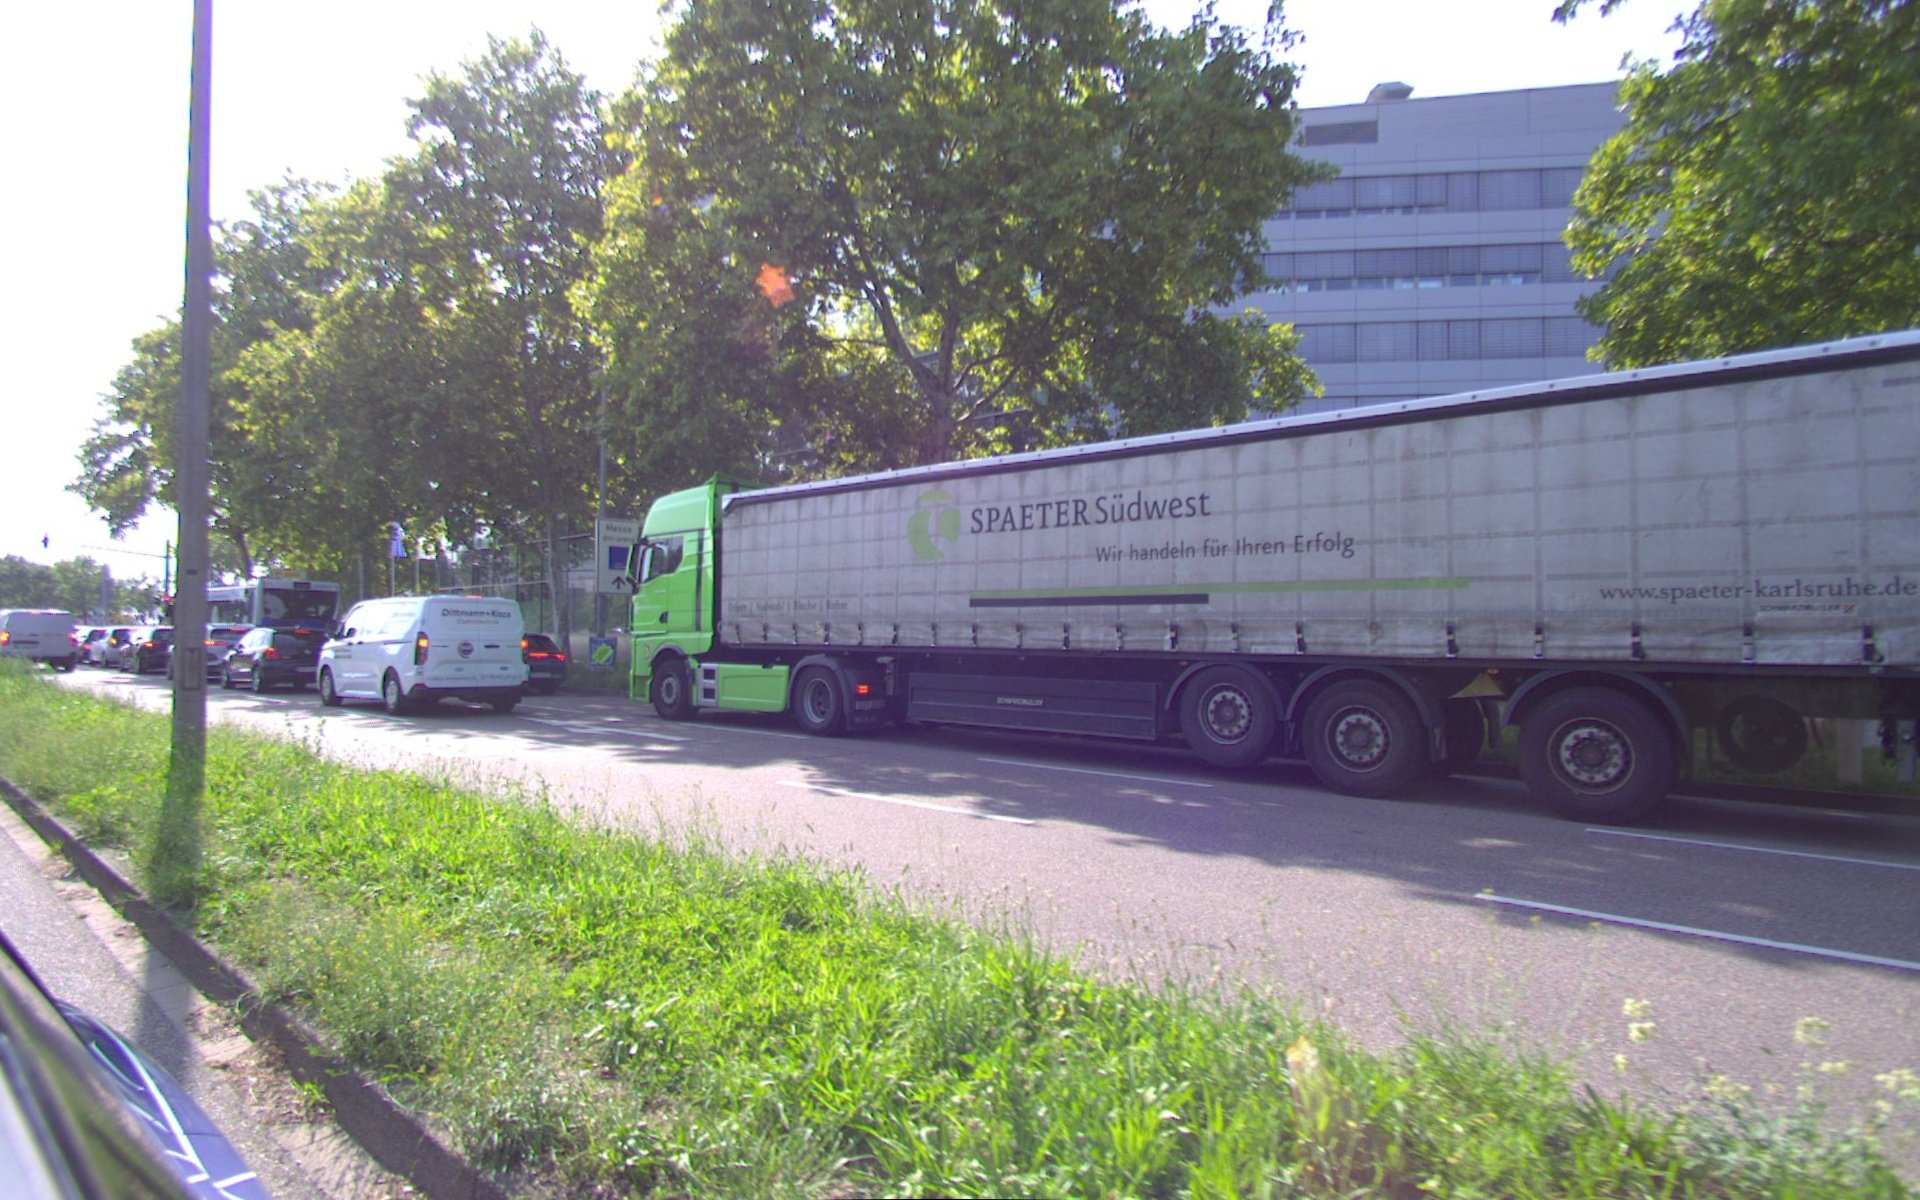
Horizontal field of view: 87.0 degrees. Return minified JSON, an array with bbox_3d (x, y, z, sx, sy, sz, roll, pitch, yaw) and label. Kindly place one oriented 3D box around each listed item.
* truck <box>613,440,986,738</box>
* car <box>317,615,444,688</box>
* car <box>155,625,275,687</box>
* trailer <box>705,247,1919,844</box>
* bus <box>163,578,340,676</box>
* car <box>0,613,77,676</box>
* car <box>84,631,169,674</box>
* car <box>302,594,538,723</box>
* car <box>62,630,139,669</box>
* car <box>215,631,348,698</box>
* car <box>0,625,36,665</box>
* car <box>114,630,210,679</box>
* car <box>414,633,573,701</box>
[{"bbox_3d":[-2.697,-0.037,15.979,5.888,3.849,2.580,-2,-4,41],"label":"truck"},{"bbox_3d":[-16.634,1.444,28.944,4.747,1.902,1.685,-1,-4,42],"label":"car"},{"bbox_3d":[-20.068,1.484,27.206,4.138,1.540,1.677,-1,-4,41],"label":"car"},{"bbox_3d":[2.256,-0.179,11.668,13.804,3.851,2.606,-1,-4,41],"label":"trailer"},{"bbox_3d":[-26.165,0.978,36.989,12.307,3.103,2.563,-2,-2,42],"label":"bus"},{"bbox_3d":[-29.922,1.438,32.285,4.887,1.878,1.891,-2,-4,41],"label":"car"},{"bbox_3d":[-29.882,1.877,36.247,3.819,1.478,1.688,-2,-4,41],"label":"car"},{"bbox_3d":[-9.655,0.978,17.905,5.033,1.968,1.973,-1,-3,41],"label":"car"},{"bbox_3d":[-33.959,1.929,39.951,3.998,1.453,1.688,-1,-4,41],"label":"car"},{"bbox_3d":[-15.528,1.431,23.088,3.857,1.409,1.597,-2,-4,42],"label":"car"},{"bbox_3d":[-35.477,1.650,37.238,4.081,1.413,1.691,-3,-5,41],"label":"car"},{"bbox_3d":[-25.128,1.697,31.819,4.188,1.444,1.629,-1,-4,42],"label":"car"},{"bbox_3d":[-10.891,1.507,23.506,4.478,1.422,1.630,-1,-4,41],"label":"car"}]
